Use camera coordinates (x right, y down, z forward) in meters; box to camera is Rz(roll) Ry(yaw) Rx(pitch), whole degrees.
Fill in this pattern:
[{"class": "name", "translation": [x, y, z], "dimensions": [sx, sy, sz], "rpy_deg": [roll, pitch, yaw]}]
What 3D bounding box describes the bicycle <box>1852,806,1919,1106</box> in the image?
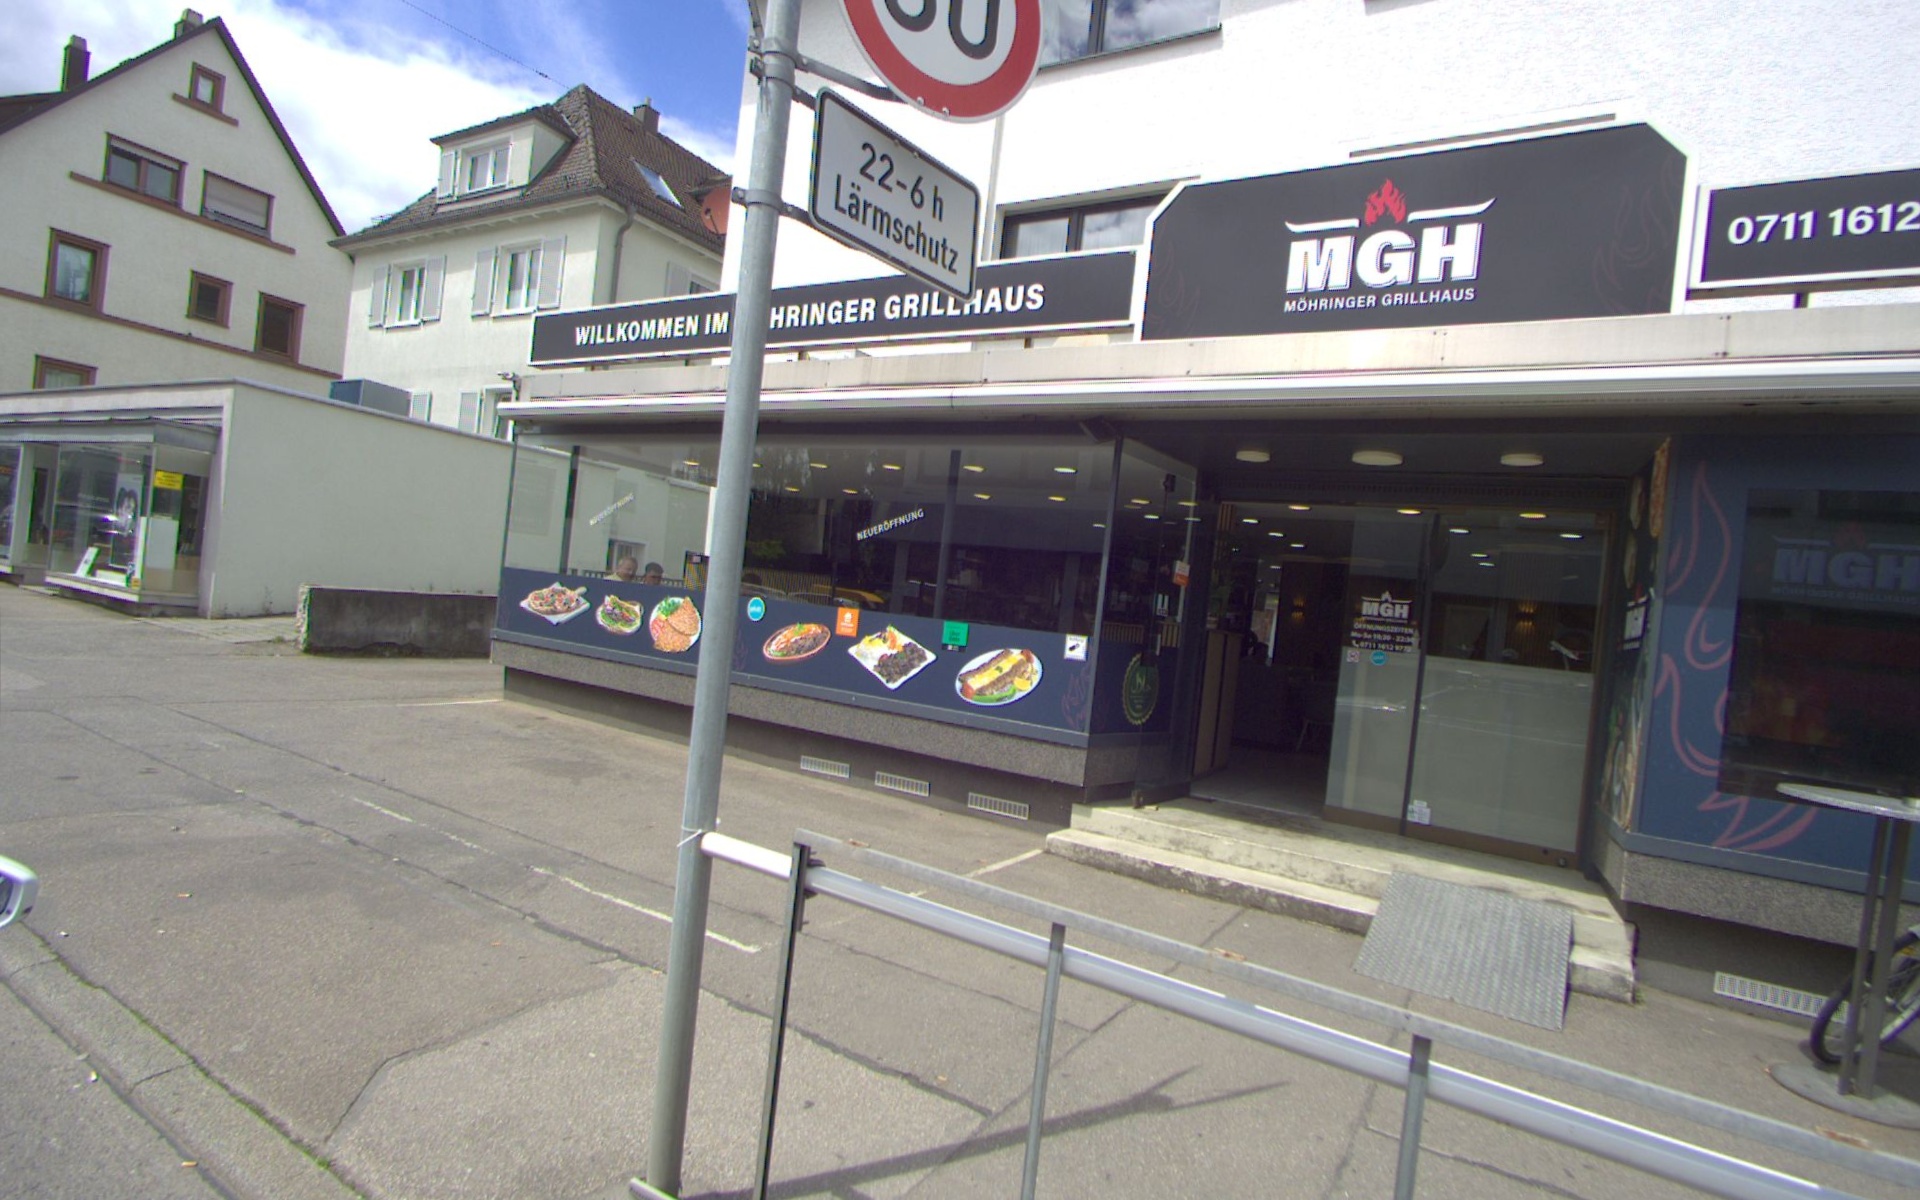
[{"class": "bicycle", "translation": [4.374, 1.434, 3.600], "dimensions": [1.606, 1.041, 0.476], "rpy_deg": [7, 1, 23]}]
